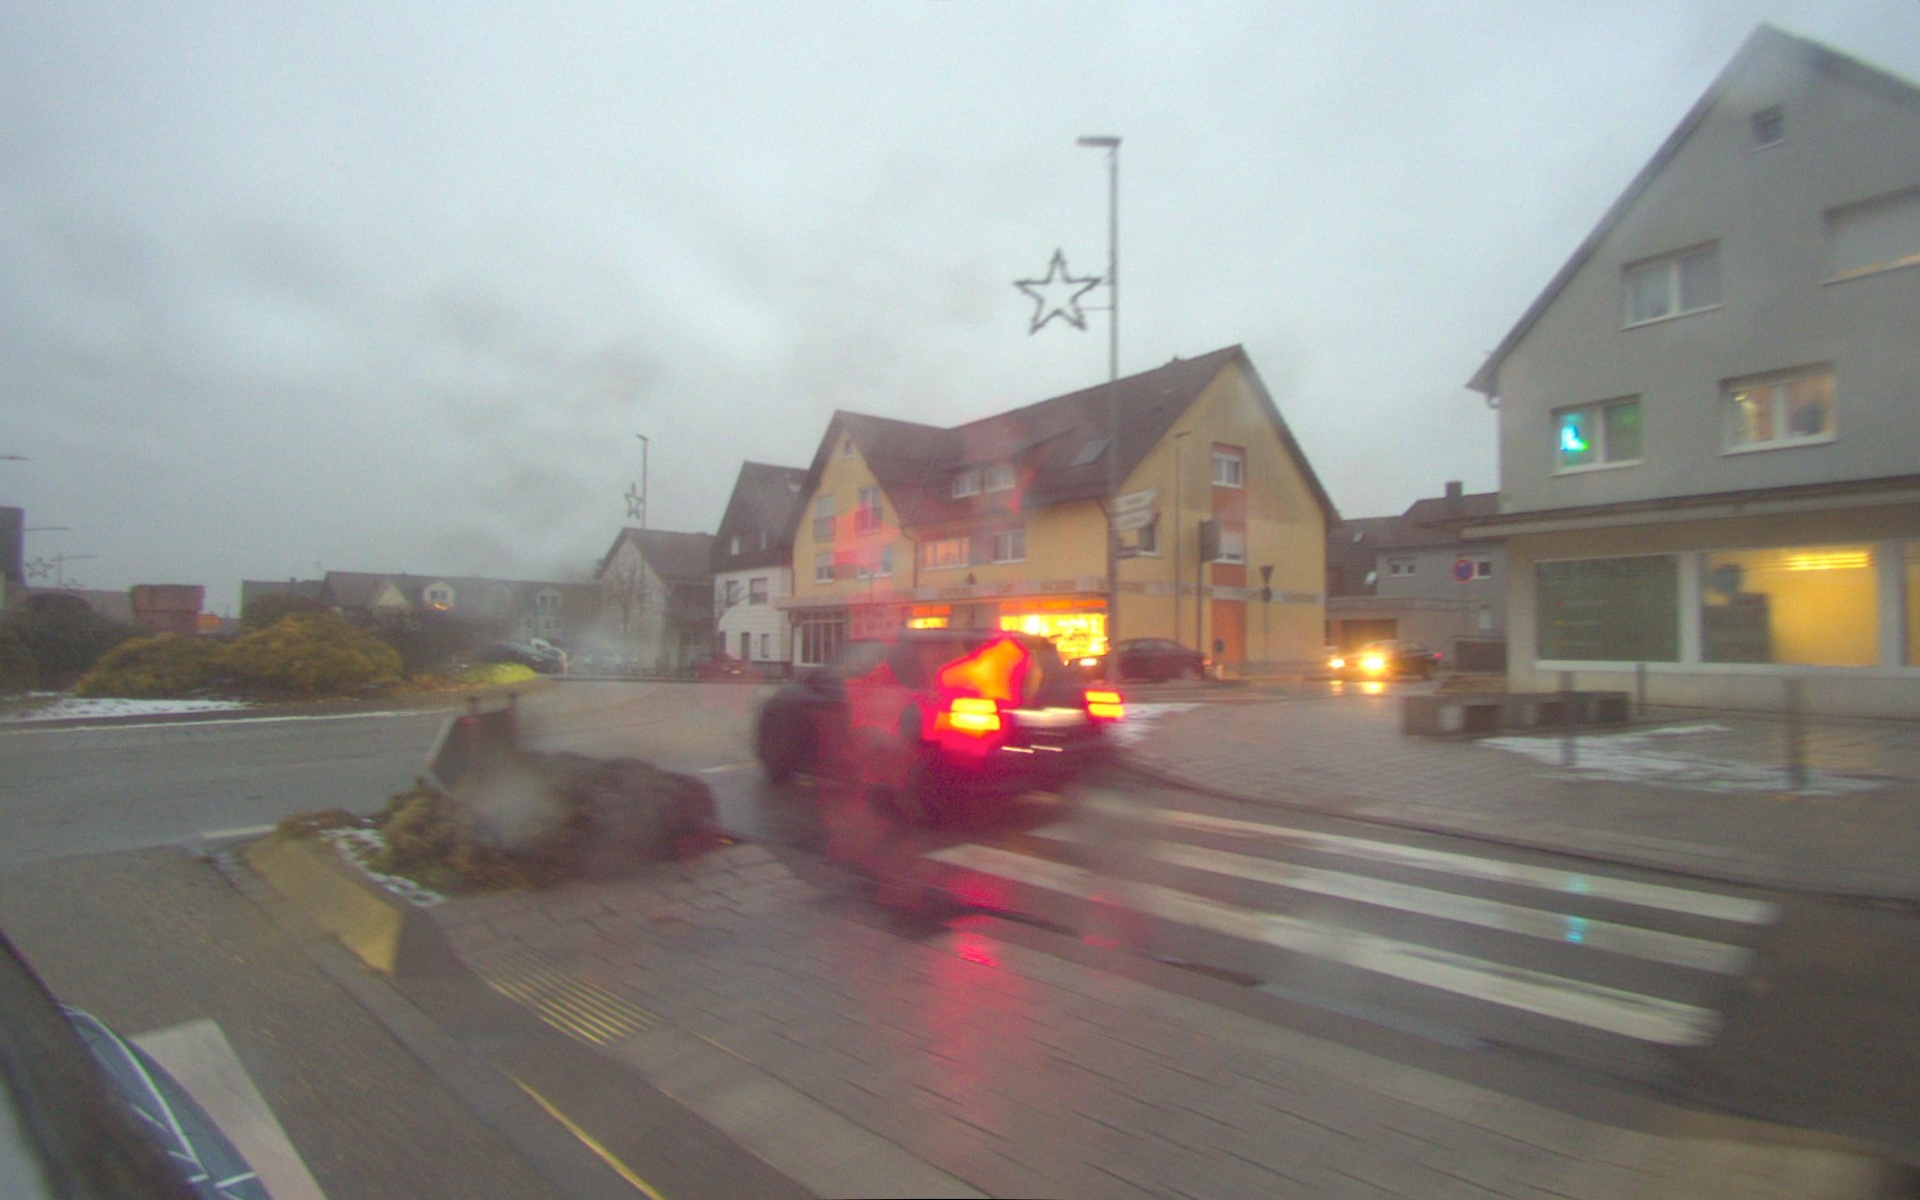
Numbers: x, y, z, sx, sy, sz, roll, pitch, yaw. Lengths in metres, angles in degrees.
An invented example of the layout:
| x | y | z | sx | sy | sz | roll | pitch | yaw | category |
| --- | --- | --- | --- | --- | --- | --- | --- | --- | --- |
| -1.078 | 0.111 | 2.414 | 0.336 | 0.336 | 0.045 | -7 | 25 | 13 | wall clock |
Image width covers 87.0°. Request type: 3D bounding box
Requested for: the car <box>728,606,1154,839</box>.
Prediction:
| x | y | z | sx | sy | sz | roll | pitch | yaw | category |
| --- | --- | --- | --- | --- | --- | --- | --- | --- | --- |
| -0.387 | 0.864 | 8.672 | 1.679 | 1.515 | 3.907 | 1 | -2 | -37 | car |

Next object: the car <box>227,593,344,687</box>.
| x | y | z | sx | sy | sz | roll | pitch | yaw | category |
| --- | --- | --- | --- | --- | --- | --- | --- | --- | --- |
| -15.856 | 0.859 | 24.001 | 2.024 | 2.002 | 4.551 | 1 | 0 | -30 | car |

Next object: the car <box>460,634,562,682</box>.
| x | y | z | sx | sy | sz | roll | pitch | yaw | category |
| --- | --- | --- | --- | --- | --- | --- | --- | --- | --- |
| -20.660 | 2.645 | 46.636 | 3.964 | 2.010 | 1.961 | 0 | 0 | 16 | car |

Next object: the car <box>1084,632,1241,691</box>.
| x | y | z | sx | sy | sz | roll | pitch | yaw | category |
| --- | --- | --- | --- | --- | --- | --- | --- | --- | --- |
| 6.076 | 1.797 | 30.433 | 4.298 | 1.617 | 1.895 | 0 | 0 | -22 | car |

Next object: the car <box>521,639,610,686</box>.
| x | y | z | sx | sy | sz | roll | pitch | yaw | category |
| --- | --- | --- | --- | --- | --- | --- | --- | --- | --- |
| -19.035 | 2.977 | 48.818 | 3.955 | 2.029 | 1.907 | 0 | 0 | 29 | car |

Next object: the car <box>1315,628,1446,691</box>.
| x | y | z | sx | sy | sz | roll | pitch | yaw | category |
| --- | --- | --- | --- | --- | --- | --- | --- | --- | --- |
| 14.728 | 2.016 | 35.369 | 4.388 | 2.029 | 2.006 | 0 | 0 | -31 | car |

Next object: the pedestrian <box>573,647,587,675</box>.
| x | y | z | sx | sy | sz | roll | pitch | yaw | category |
| --- | --- | --- | --- | --- | --- | --- | --- | --- | --- |
| -21.951 | 3.516 | 58.425 | 0.573 | 1.623 | 0.501 | 1 | 0 | -43 | pedestrian |

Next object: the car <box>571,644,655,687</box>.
| x | y | z | sx | sy | sz | roll | pitch | yaw | category |
| --- | --- | --- | --- | --- | --- | --- | --- | --- | --- |
| -17.492 | 3.269 | 50.973 | 3.855 | 1.895 | 1.917 | 0 | 0 | 29 | car |
